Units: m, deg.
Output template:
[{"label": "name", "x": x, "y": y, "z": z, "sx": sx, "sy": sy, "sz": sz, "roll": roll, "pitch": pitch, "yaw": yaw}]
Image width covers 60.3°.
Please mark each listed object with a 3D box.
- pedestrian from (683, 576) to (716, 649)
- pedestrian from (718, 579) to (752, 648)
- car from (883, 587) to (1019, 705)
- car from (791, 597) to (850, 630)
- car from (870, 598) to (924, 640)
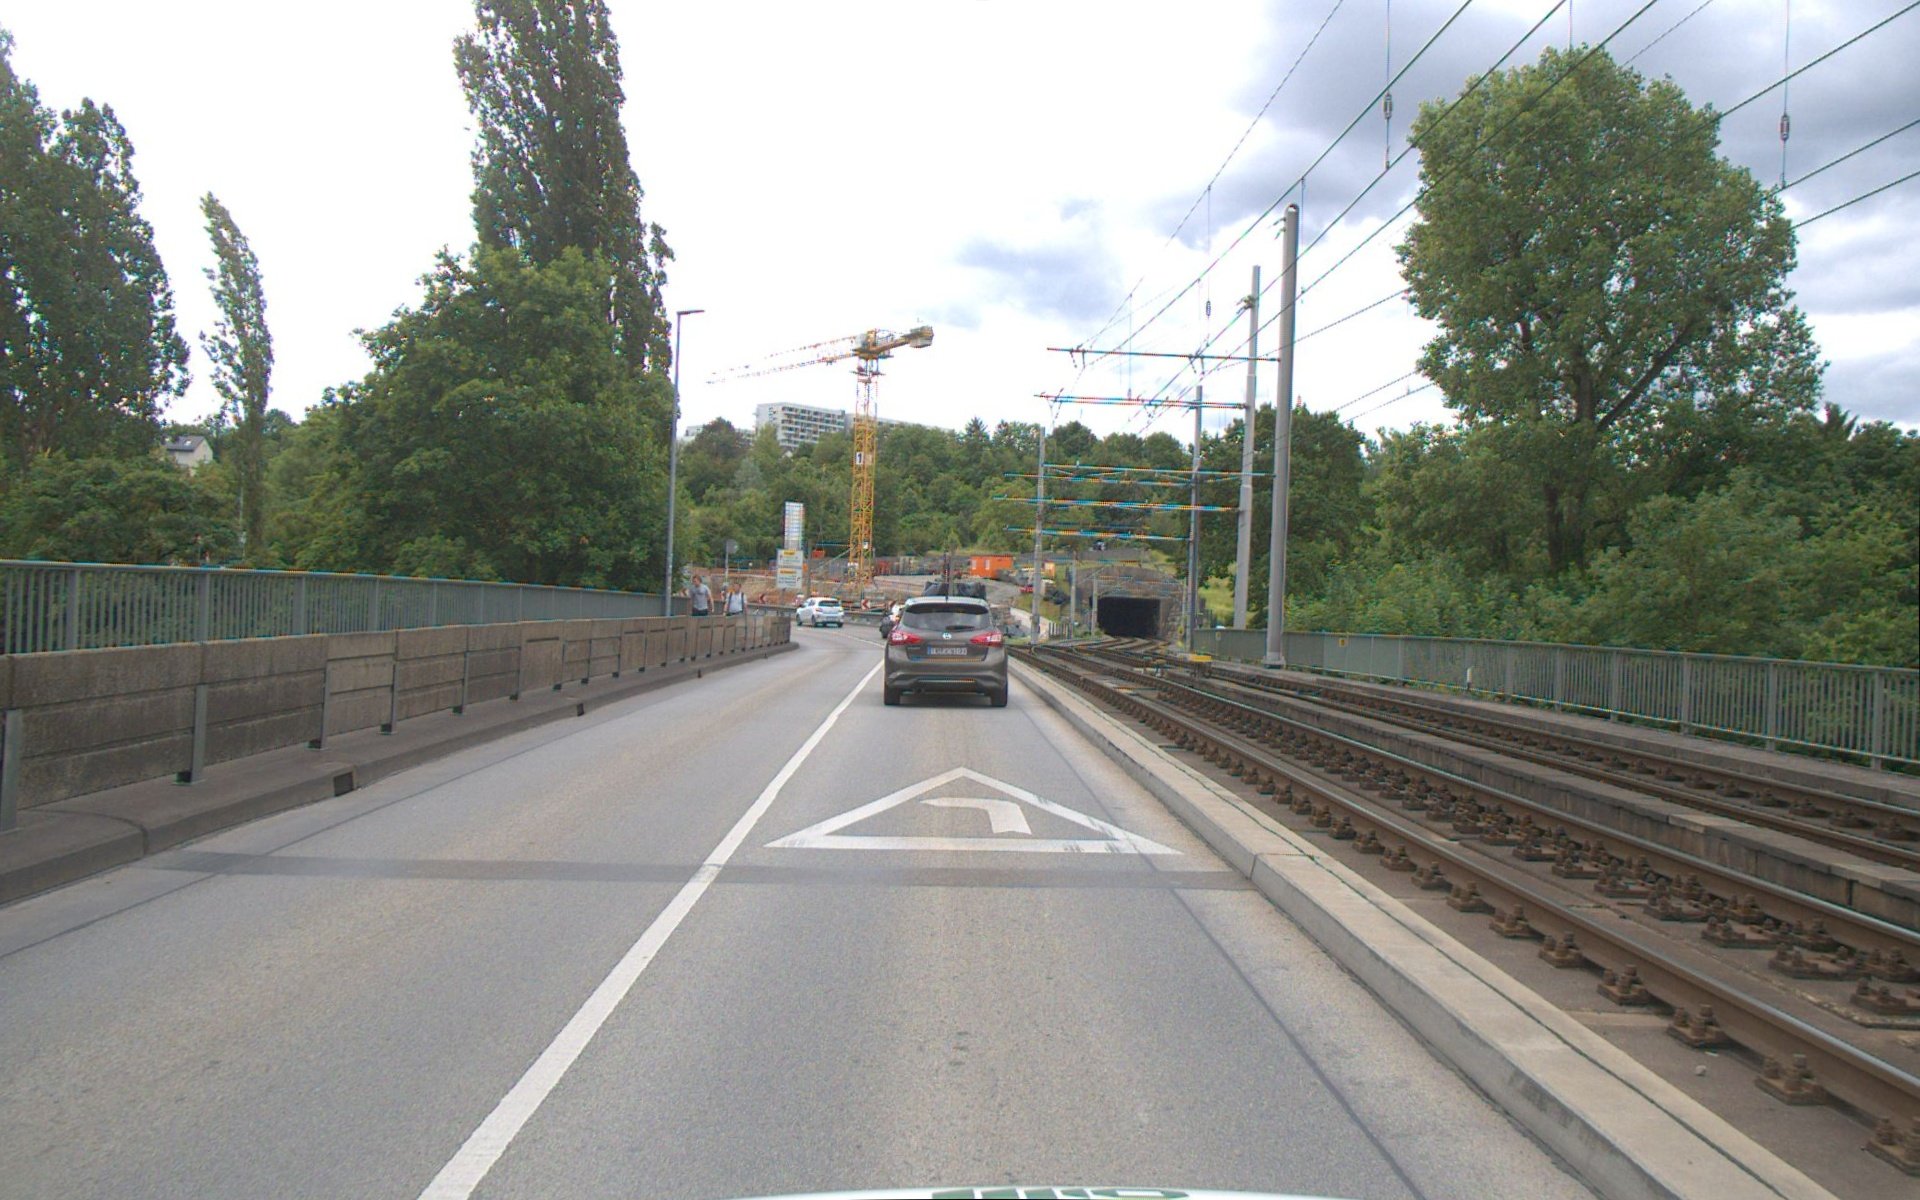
[{"label": "pedestrian", "x": -6.842, "y": 0.332, "z": 43.524, "sx": 0.706, "sy": 1.872, "sz": 0.723, "roll": 2, "pitch": 0, "yaw": -1}, {"label": "pedestrian", "x": -5.781, "y": 0.348, "z": 42.525, "sx": 0.706, "sy": 1.731, "sz": 0.723, "roll": 2, "pitch": 0, "yaw": -1}, {"label": "car", "x": -0.187, "y": 0.628, "z": 24.286, "sx": 1.793, "sy": 1.536, "sz": 3.998, "roll": 2, "pitch": 0, "yaw": -2}, {"label": "car", "x": -7.353, "y": 0.698, "z": 86.867, "sx": 1.659, "sy": 1.634, "sz": 4.274, "roll": 1, "pitch": 0, "yaw": -25}, {"label": "car", "x": -2.719, "y": 0.792, "z": 70.545, "sx": 1.650, "sy": 1.634, "sz": 4.298, "roll": 1, "pitch": 0, "yaw": -11}]
